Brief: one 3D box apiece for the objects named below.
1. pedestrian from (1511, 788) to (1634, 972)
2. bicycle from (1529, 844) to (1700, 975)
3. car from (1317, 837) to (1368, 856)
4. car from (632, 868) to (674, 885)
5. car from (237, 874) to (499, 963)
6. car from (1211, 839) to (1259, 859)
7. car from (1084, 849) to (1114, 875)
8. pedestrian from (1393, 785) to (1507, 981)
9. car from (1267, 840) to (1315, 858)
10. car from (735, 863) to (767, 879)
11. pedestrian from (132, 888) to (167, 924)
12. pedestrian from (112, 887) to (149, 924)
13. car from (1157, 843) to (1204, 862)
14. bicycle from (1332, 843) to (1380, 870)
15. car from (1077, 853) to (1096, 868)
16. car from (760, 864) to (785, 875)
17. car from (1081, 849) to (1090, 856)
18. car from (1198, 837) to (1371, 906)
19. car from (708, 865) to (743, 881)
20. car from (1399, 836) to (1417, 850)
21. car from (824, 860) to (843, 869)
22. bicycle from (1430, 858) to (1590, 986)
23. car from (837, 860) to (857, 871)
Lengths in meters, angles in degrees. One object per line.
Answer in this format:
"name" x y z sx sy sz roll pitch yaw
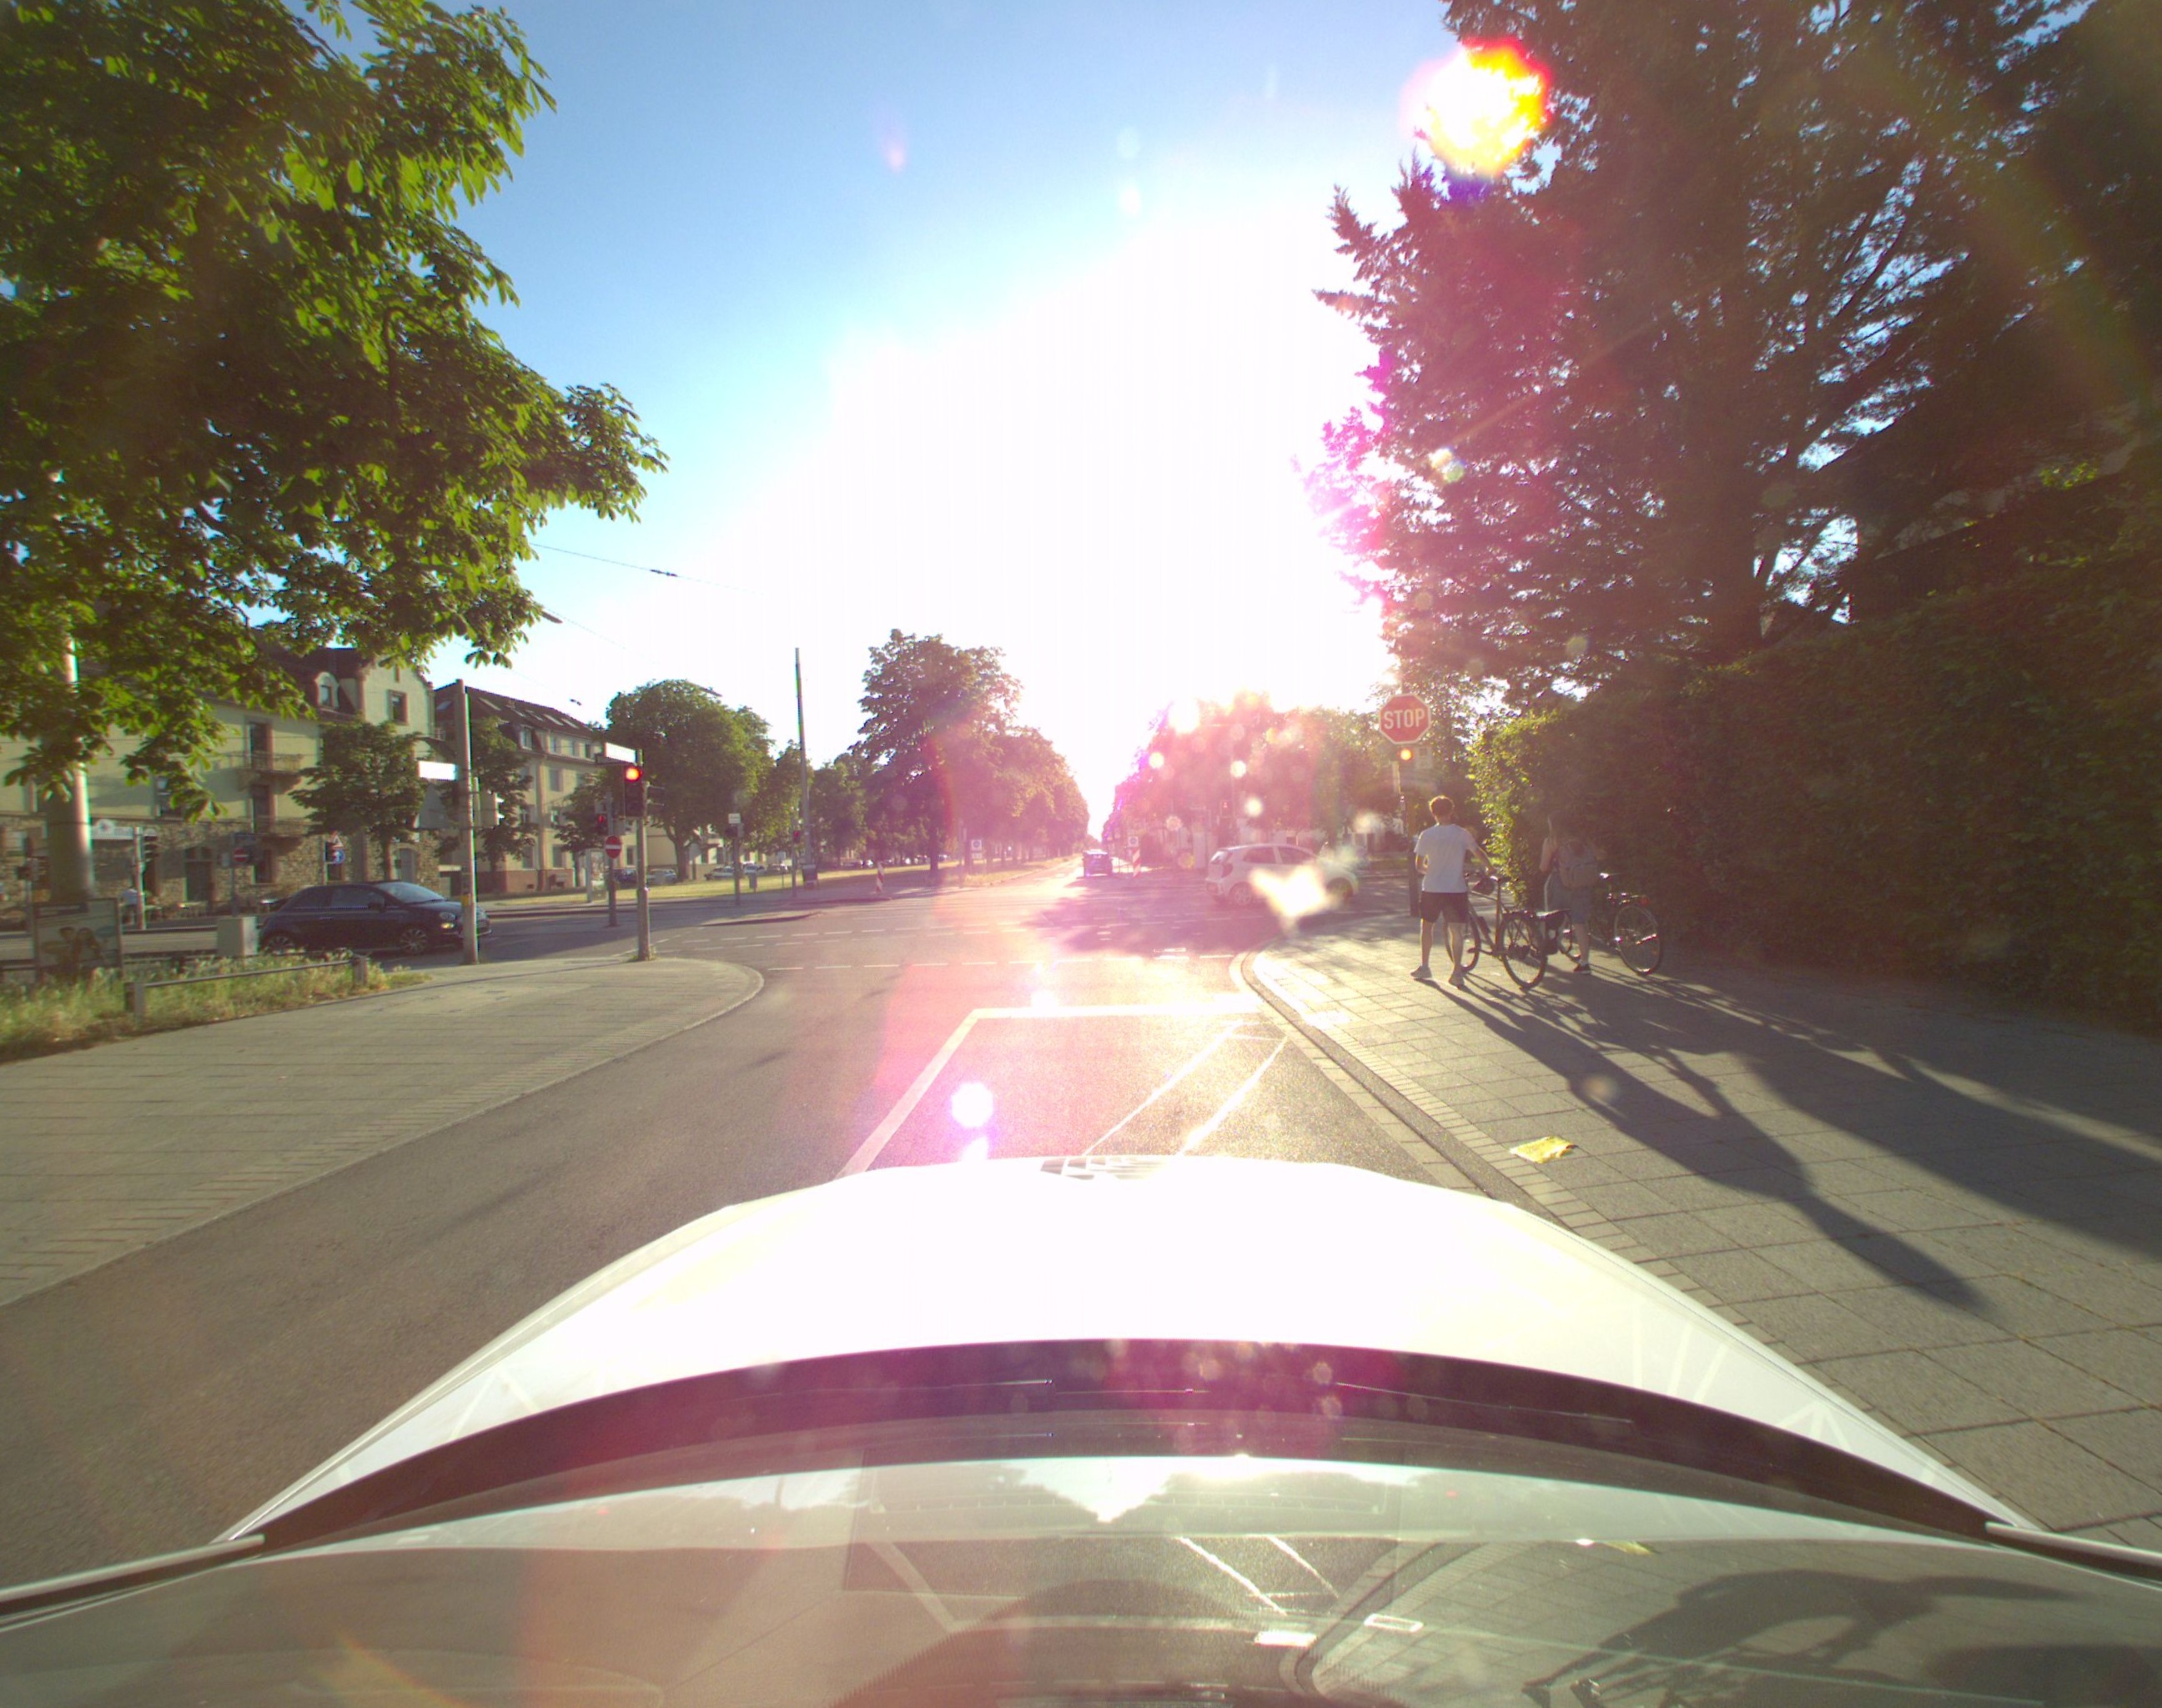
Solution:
"pedestrian" 4.938 0.248 8.214 0.667 1.708 0.622 -7 0 -2
"bicycle" 5.253 0.501 8.143 0.486 1.142 1.595 -5 0 -5
"car" 22.375 -0.652 69.850 3.837 1.427 1.596 -2 0 -3
"car" -41.313 2.155 78.701 1.728 1.427 3.800 -2 0 7
"car" -14.221 1.242 16.445 3.595 1.497 1.607 -2 1 -9
"car" 13.137 -0.434 69.531 3.766 1.525 1.744 -2 2 1
"car" 1.108 0.454 48.570 1.634 1.450 3.311 -2 0 4
"pedestrian" 3.775 0.282 8.407 0.667 1.865 0.883 -6 0 5
"car" 17.851 -0.413 69.270 3.655 1.427 1.530 -2 0 -3
"car" -35.498 1.822 87.705 1.731 1.427 3.795 -2 2 2
"pedestrian" -44.540 2.472 38.948 0.808 1.642 0.728 -2 0 9
"pedestrian" -44.318 2.376 37.977 0.723 1.642 0.813 -2 0 -9
"car" 8.474 -0.130 69.402 3.766 1.427 1.744 -2 2 1
"bicycle" 12.498 0.102 37.032 1.945 1.132 0.620 -2 0 3
"car" 0.580 0.679 82.900 1.838 1.393 3.831 -2 0 2
"car" -41.306 2.051 108.987 1.731 1.427 3.794 -2 0 2
"car" 1.290 -0.418 226.538 2.126 2.013 3.904 -2 0 2
"car" 4.890 0.399 19.789 3.686 1.488 1.735 -2 0 -10
"car" -35.628 1.850 81.661 1.731 1.427 3.794 -2 0 2
"car" 35.001 -1.208 87.195 1.649 1.418 3.563 -2 0 24
"car" -40.408 1.665 132.886 1.731 1.427 3.794 -2 0 2
"bicycle" 4.252 0.613 8.235 0.486 1.097 1.788 -5 0 -4
"car" -35.144 1.735 122.447 1.731 1.427 3.794 -2 0 2
